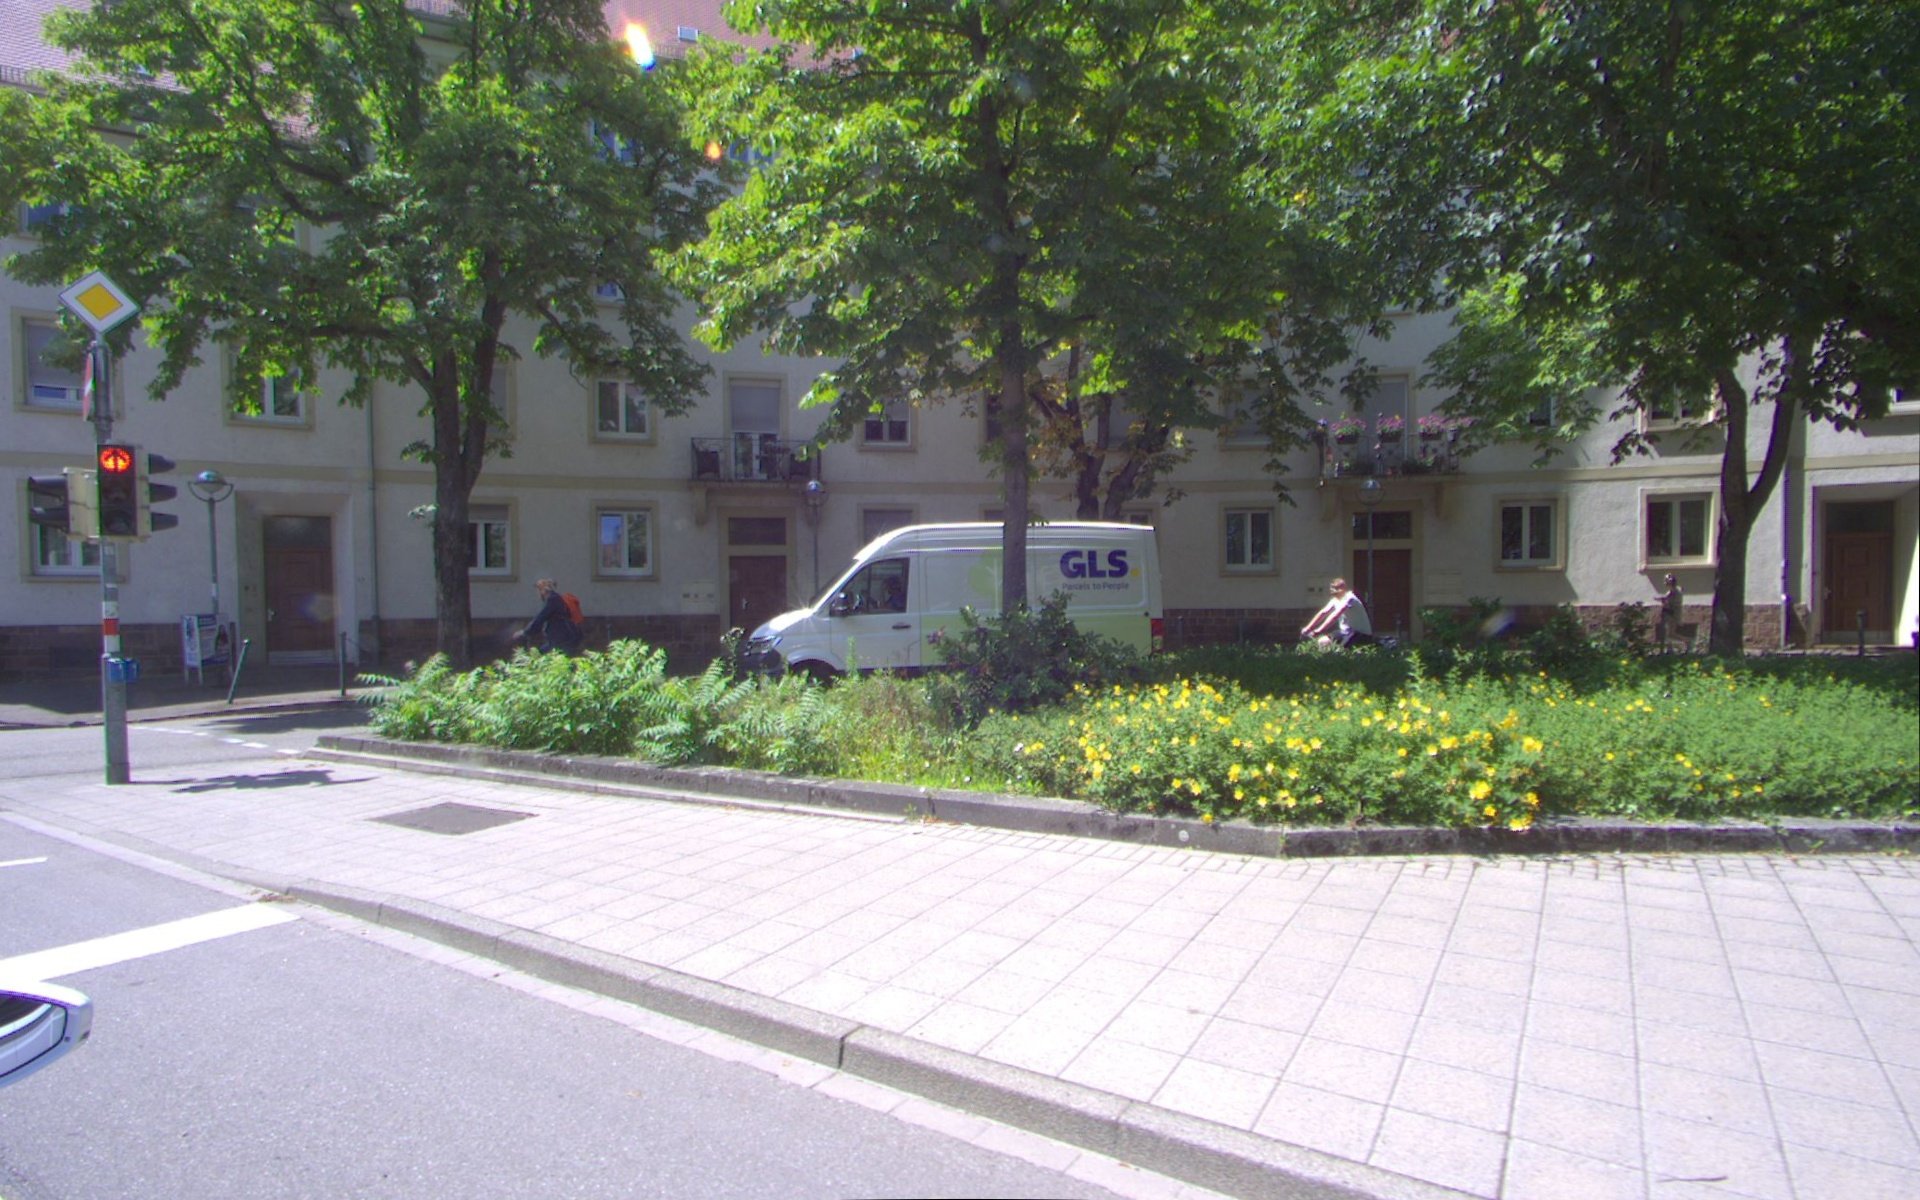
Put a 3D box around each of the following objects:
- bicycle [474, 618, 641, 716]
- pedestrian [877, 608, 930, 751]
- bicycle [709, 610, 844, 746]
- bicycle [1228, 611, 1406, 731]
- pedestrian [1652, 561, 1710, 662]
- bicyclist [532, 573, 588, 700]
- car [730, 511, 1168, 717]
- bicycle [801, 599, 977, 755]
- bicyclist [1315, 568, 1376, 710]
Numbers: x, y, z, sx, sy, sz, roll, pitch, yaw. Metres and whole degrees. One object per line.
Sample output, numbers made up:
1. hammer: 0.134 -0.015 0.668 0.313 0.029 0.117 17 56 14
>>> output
1. bicycle: -5.444 0.881 13.607 2.054 1.253 0.578 0 0 -25
2. pedestrian: -0.528 0.730 9.373 0.345 1.301 0.365 0 0 32
3. bicycle: -1.643 0.681 8.894 1.269 1.141 0.332 -2 -1 33
4. bicycle: 4.646 0.907 13.092 2.126 1.505 0.593 0 0 -4
5. pedestrian: 14.903 0.251 20.715 0.759 2.040 0.806 0 0 18
6. bicyclist: -5.439 0.489 13.601 0.684 1.667 0.578 0 0 -24
7. car: -0.183 0.177 14.095 5.738 2.624 1.999 0 0 -7
8. bicycle: -0.705 0.694 9.479 1.809 1.377 0.351 -1 0 33
9. bicyclist: 5.040 0.504 13.118 0.524 1.823 0.603 0 0 -4
